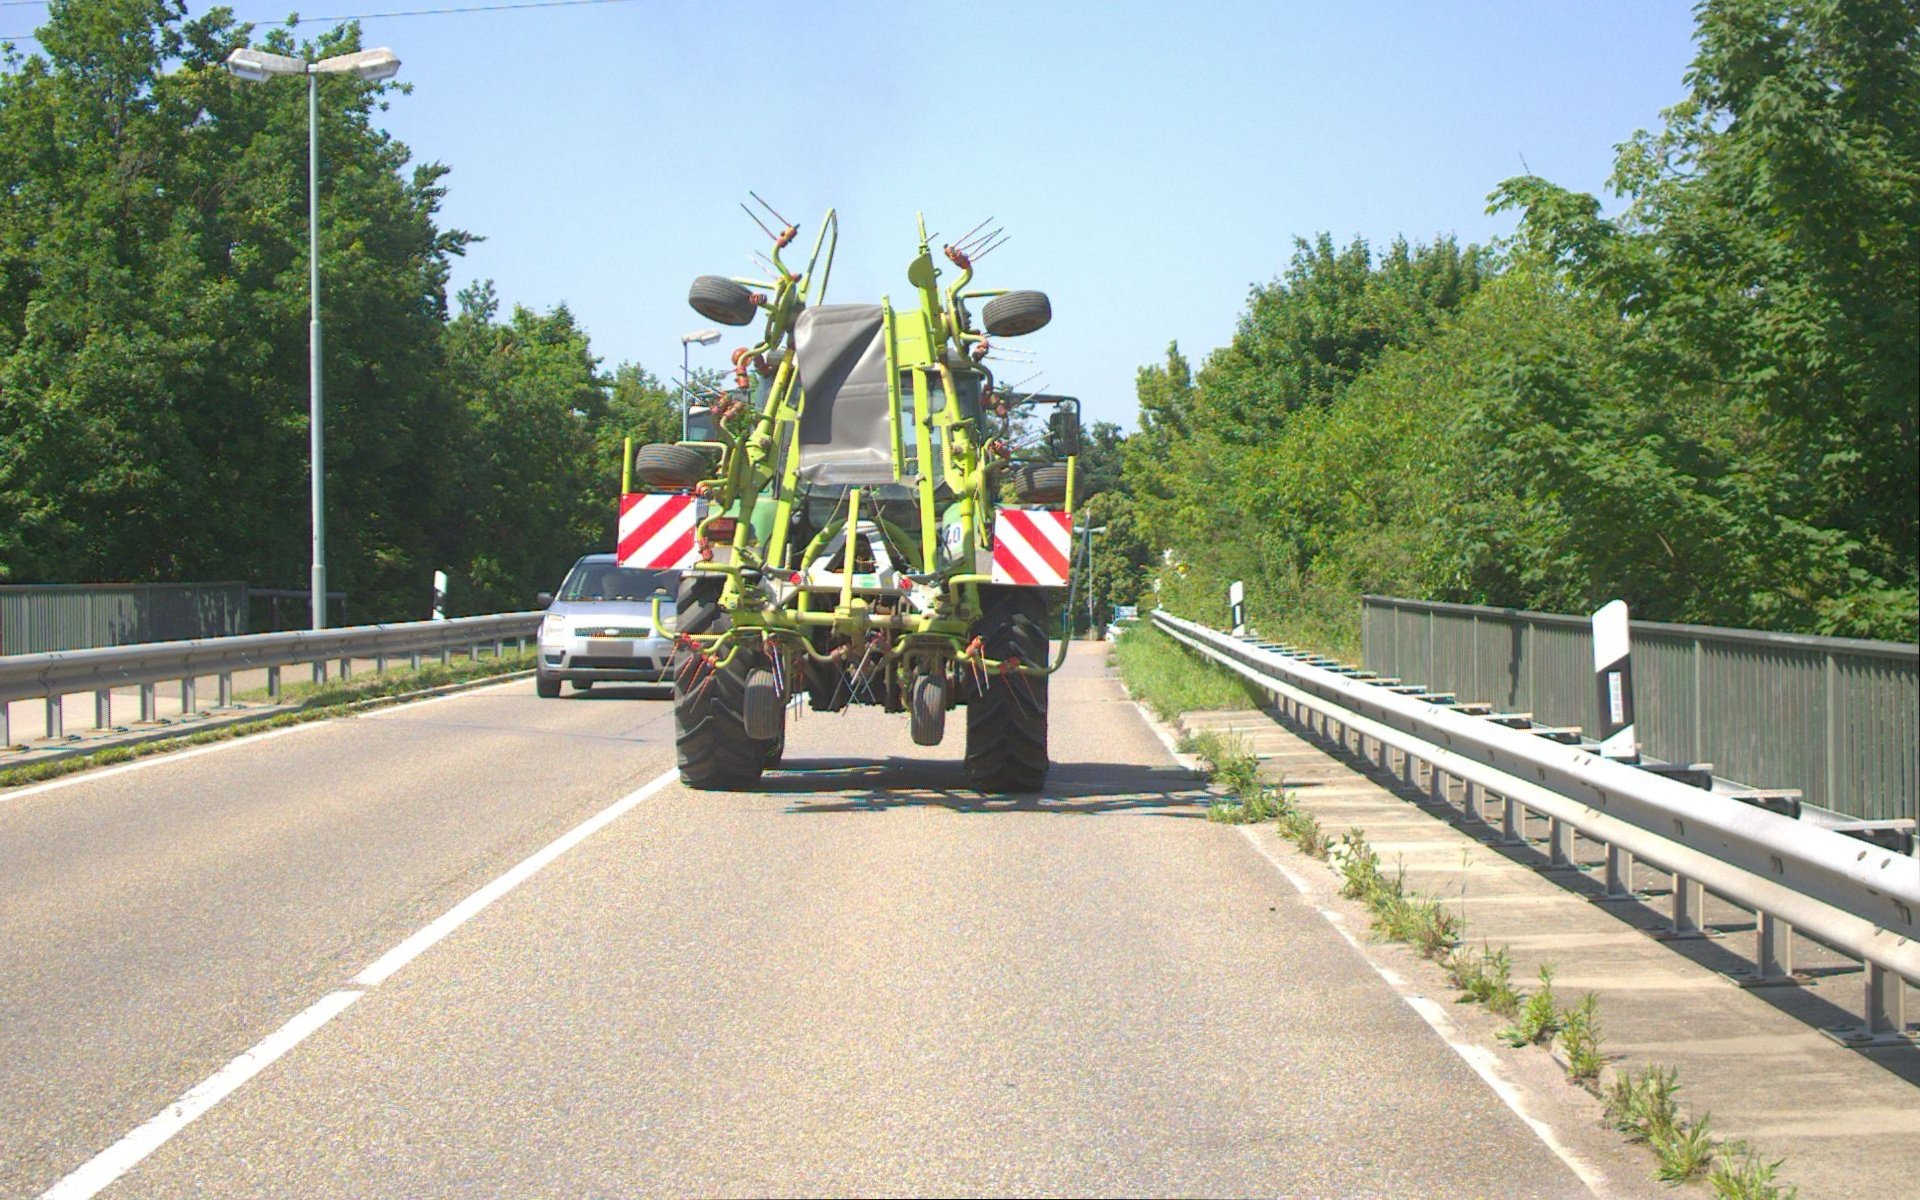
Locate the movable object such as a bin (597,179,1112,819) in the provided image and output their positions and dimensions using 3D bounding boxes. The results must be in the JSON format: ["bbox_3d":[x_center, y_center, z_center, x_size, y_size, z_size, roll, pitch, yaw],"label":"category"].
[{"bbox_3d":[-0.631,-0.608,21.416,2.755,3.432,5.670,0,1,-1],"label":"movable object such as a bin"}]

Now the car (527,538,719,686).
[{"bbox_3d":[-3.578,0.091,36.973,1.667,1.512,3.666,0,1,1],"label":"car"}]
